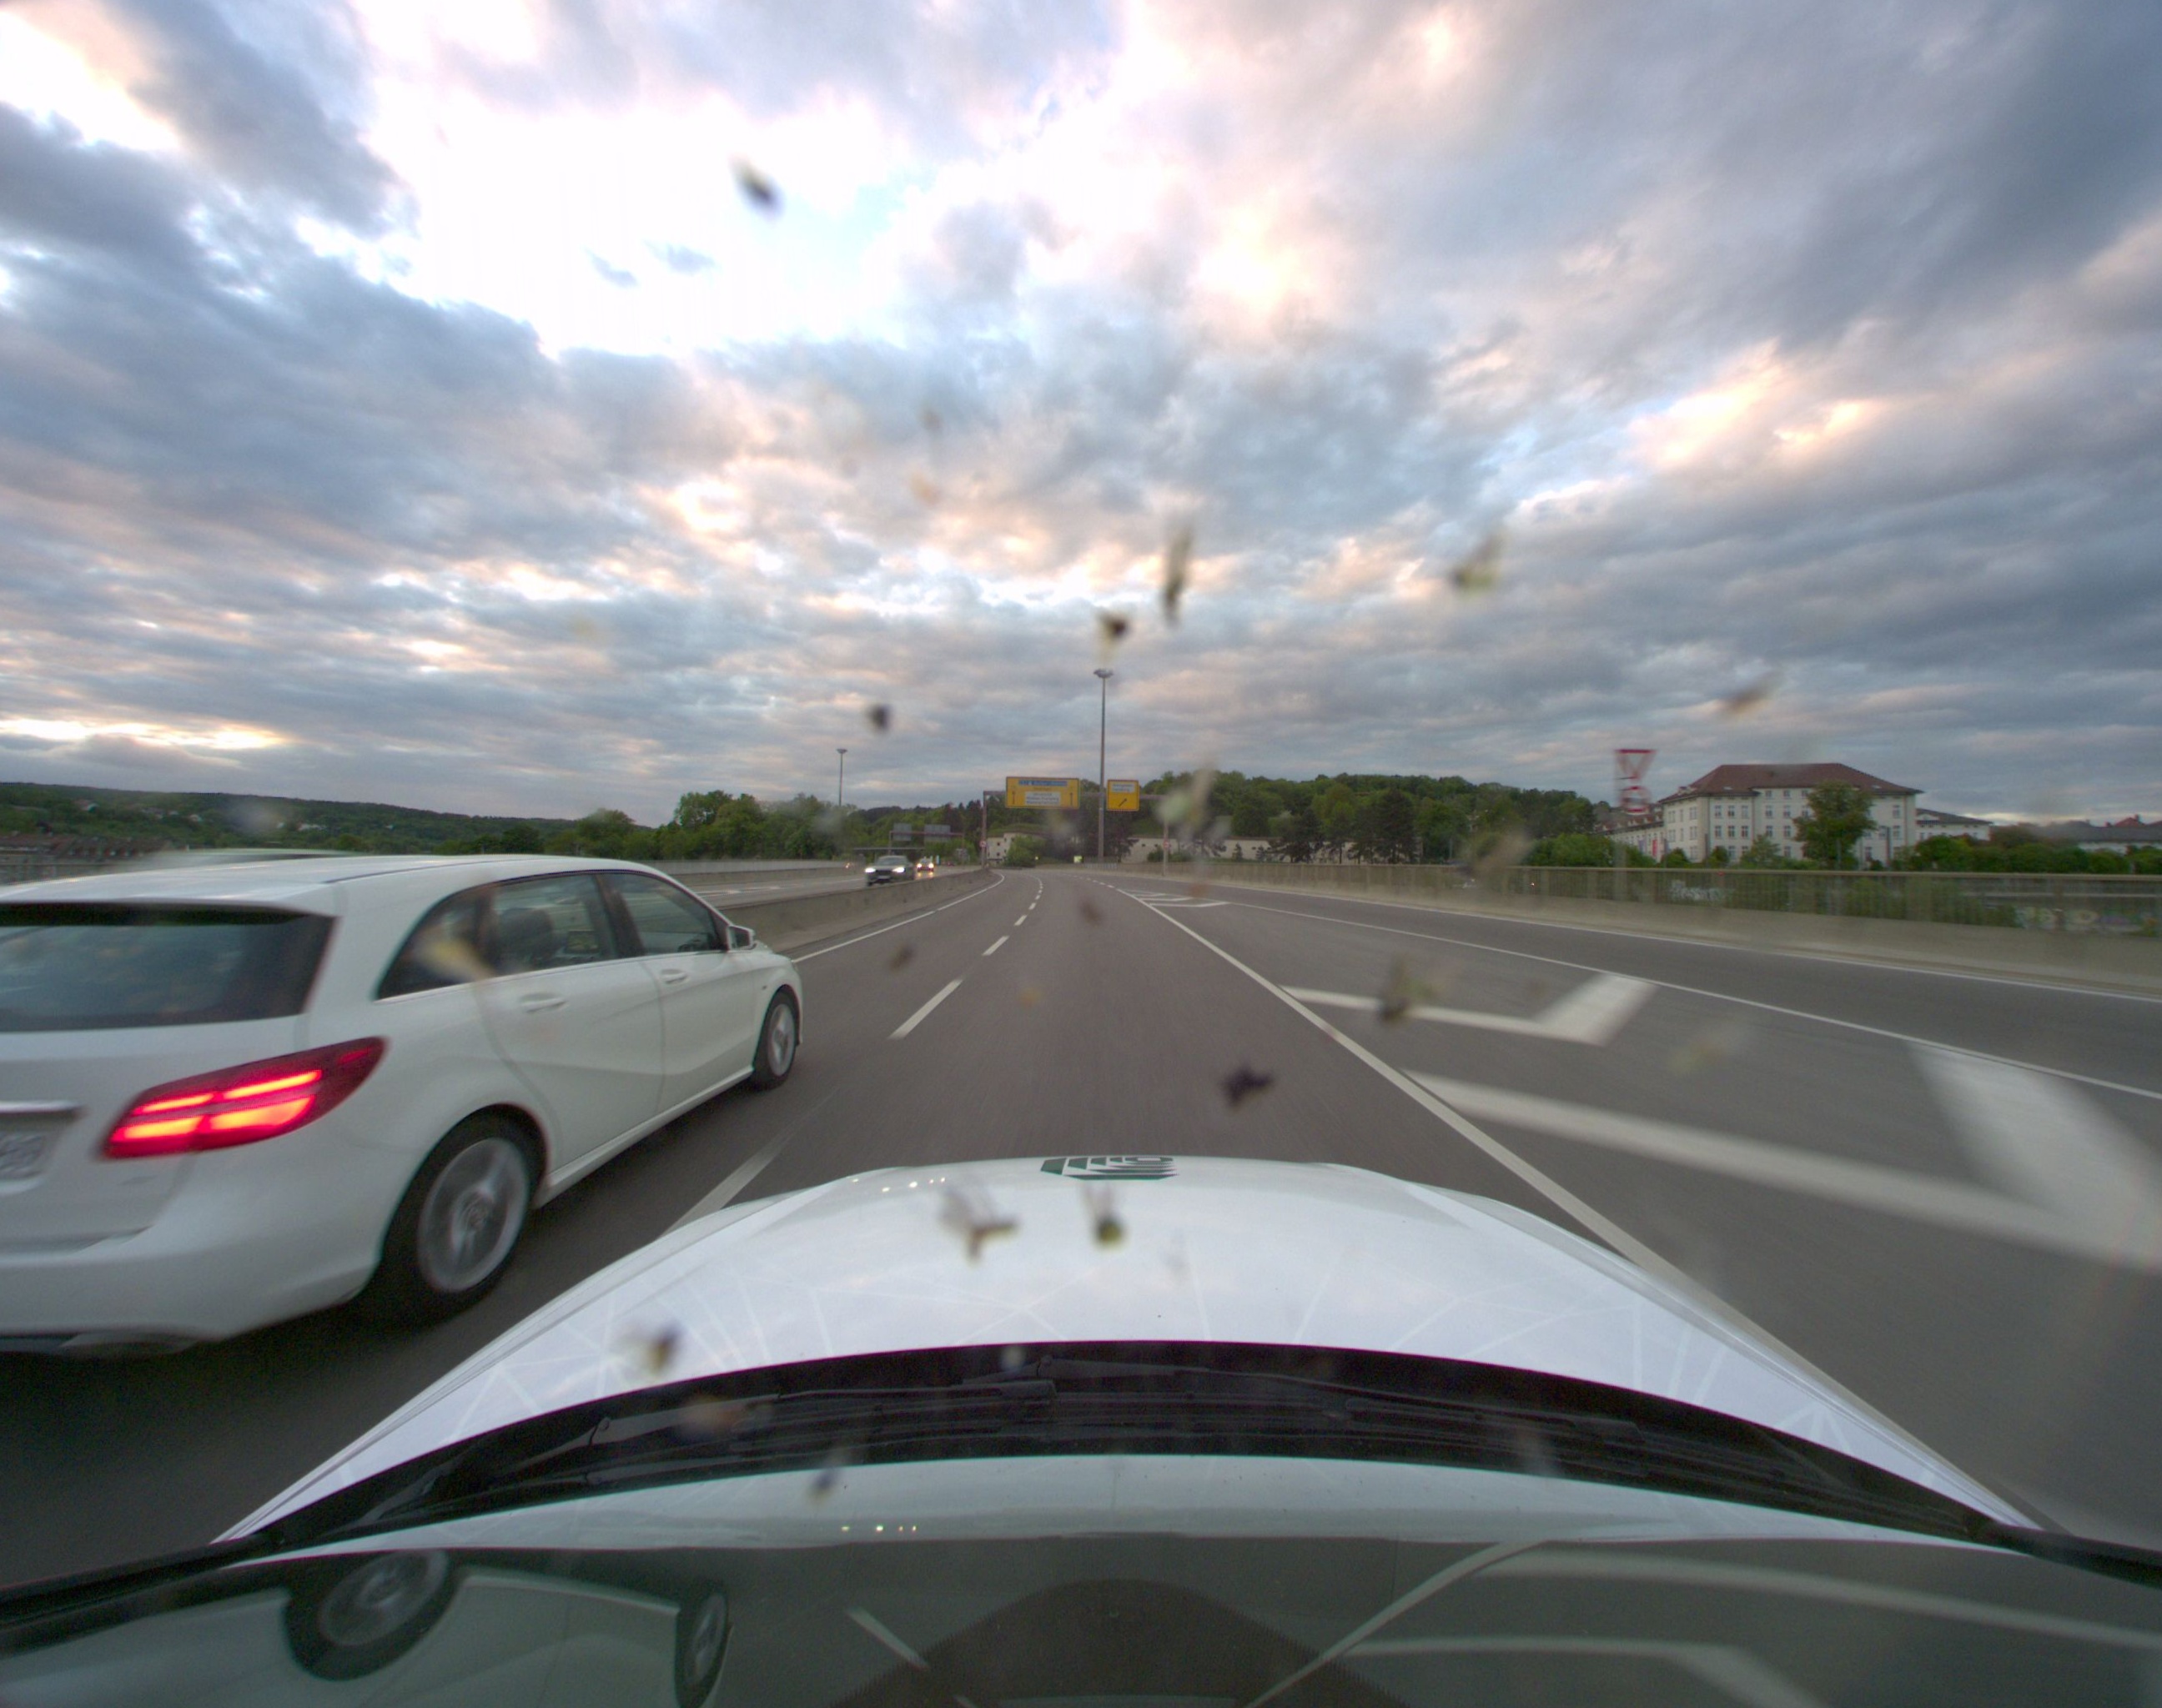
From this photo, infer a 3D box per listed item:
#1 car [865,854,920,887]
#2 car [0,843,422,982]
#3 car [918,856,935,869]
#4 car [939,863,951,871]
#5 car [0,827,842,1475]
[{"bbox_3d":[-9.275,0.782,40.356,1.806,1.534,4.542,0,-1,-2],"label":"car"},{"bbox_3d":[-11.345,0.664,10.828,1.704,1.494,4.083,-1,-1,2],"label":"car"},{"bbox_3d":[-16.910,0.925,89.533,1.731,1.476,4.209,0,-1,-10],"label":"car"},{"bbox_3d":[-35.043,3.307,209.467,2.005,1.838,3.963,1,-2,-28],"label":"car"},{"bbox_3d":[-2.834,0.748,4.340,1.685,1.537,4.782,-1,-1,0],"label":"car"}]
